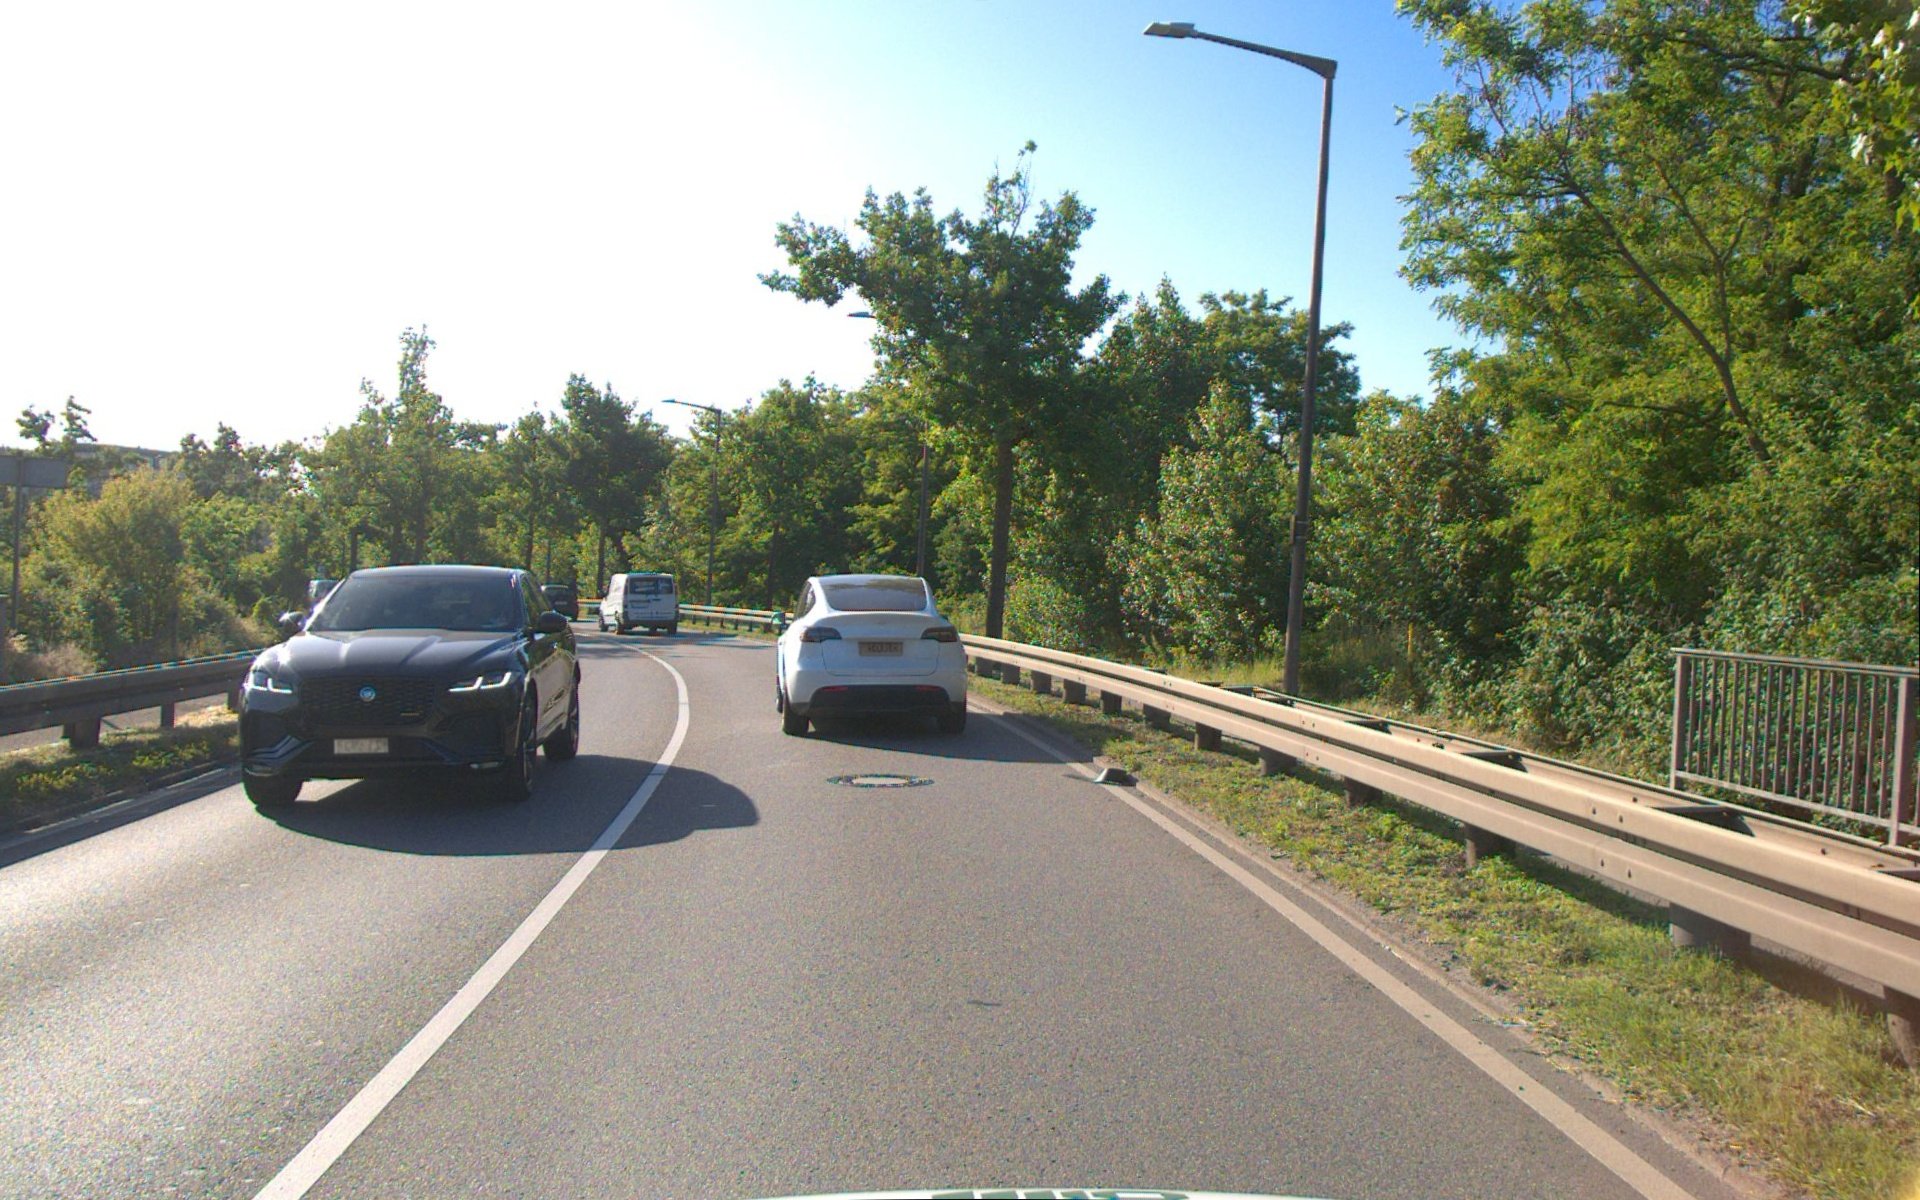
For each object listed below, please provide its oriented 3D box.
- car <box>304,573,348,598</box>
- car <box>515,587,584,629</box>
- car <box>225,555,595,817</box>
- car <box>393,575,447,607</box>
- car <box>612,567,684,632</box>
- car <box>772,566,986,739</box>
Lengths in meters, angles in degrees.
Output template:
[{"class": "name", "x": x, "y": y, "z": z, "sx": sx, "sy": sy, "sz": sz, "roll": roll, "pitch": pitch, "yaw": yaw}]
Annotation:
[{"class": "car", "x": -40.343, "y": -0.946, "z": 105.190, "sx": 1.819, "sy": 1.583, "sz": 3.848, "roll": 0, "pitch": 1, "yaw": -34}, {"class": "car", "x": -16.826, "y": 0.297, "z": 67.727, "sx": 1.839, "sy": 1.612, "sz": 3.877, "roll": 0, "pitch": 1, "yaw": -29}, {"class": "car", "x": -4.028, "y": 0.523, "z": 12.891, "sx": 1.862, "sy": 1.671, "sz": 4.457, "roll": 0, "pitch": 1, "yaw": -7}, {"class": "car", "x": -28.380, "y": -0.472, "z": 86.901, "sx": 1.842, "sy": 1.612, "sz": 3.871, "roll": 0, "pitch": 1, "yaw": -32}, {"class": "car", "x": -10.006, "y": -0.054, "z": 52.802, "sx": 1.972, "sy": 1.974, "sz": 4.450, "roll": 0, "pitch": 1, "yaw": -15}, {"class": "car", "x": -1.001, "y": 0.490, "z": 18.016, "sx": 1.948, "sy": 1.666, "sz": 4.055, "roll": 1, "pitch": 1, "yaw": -8}]
